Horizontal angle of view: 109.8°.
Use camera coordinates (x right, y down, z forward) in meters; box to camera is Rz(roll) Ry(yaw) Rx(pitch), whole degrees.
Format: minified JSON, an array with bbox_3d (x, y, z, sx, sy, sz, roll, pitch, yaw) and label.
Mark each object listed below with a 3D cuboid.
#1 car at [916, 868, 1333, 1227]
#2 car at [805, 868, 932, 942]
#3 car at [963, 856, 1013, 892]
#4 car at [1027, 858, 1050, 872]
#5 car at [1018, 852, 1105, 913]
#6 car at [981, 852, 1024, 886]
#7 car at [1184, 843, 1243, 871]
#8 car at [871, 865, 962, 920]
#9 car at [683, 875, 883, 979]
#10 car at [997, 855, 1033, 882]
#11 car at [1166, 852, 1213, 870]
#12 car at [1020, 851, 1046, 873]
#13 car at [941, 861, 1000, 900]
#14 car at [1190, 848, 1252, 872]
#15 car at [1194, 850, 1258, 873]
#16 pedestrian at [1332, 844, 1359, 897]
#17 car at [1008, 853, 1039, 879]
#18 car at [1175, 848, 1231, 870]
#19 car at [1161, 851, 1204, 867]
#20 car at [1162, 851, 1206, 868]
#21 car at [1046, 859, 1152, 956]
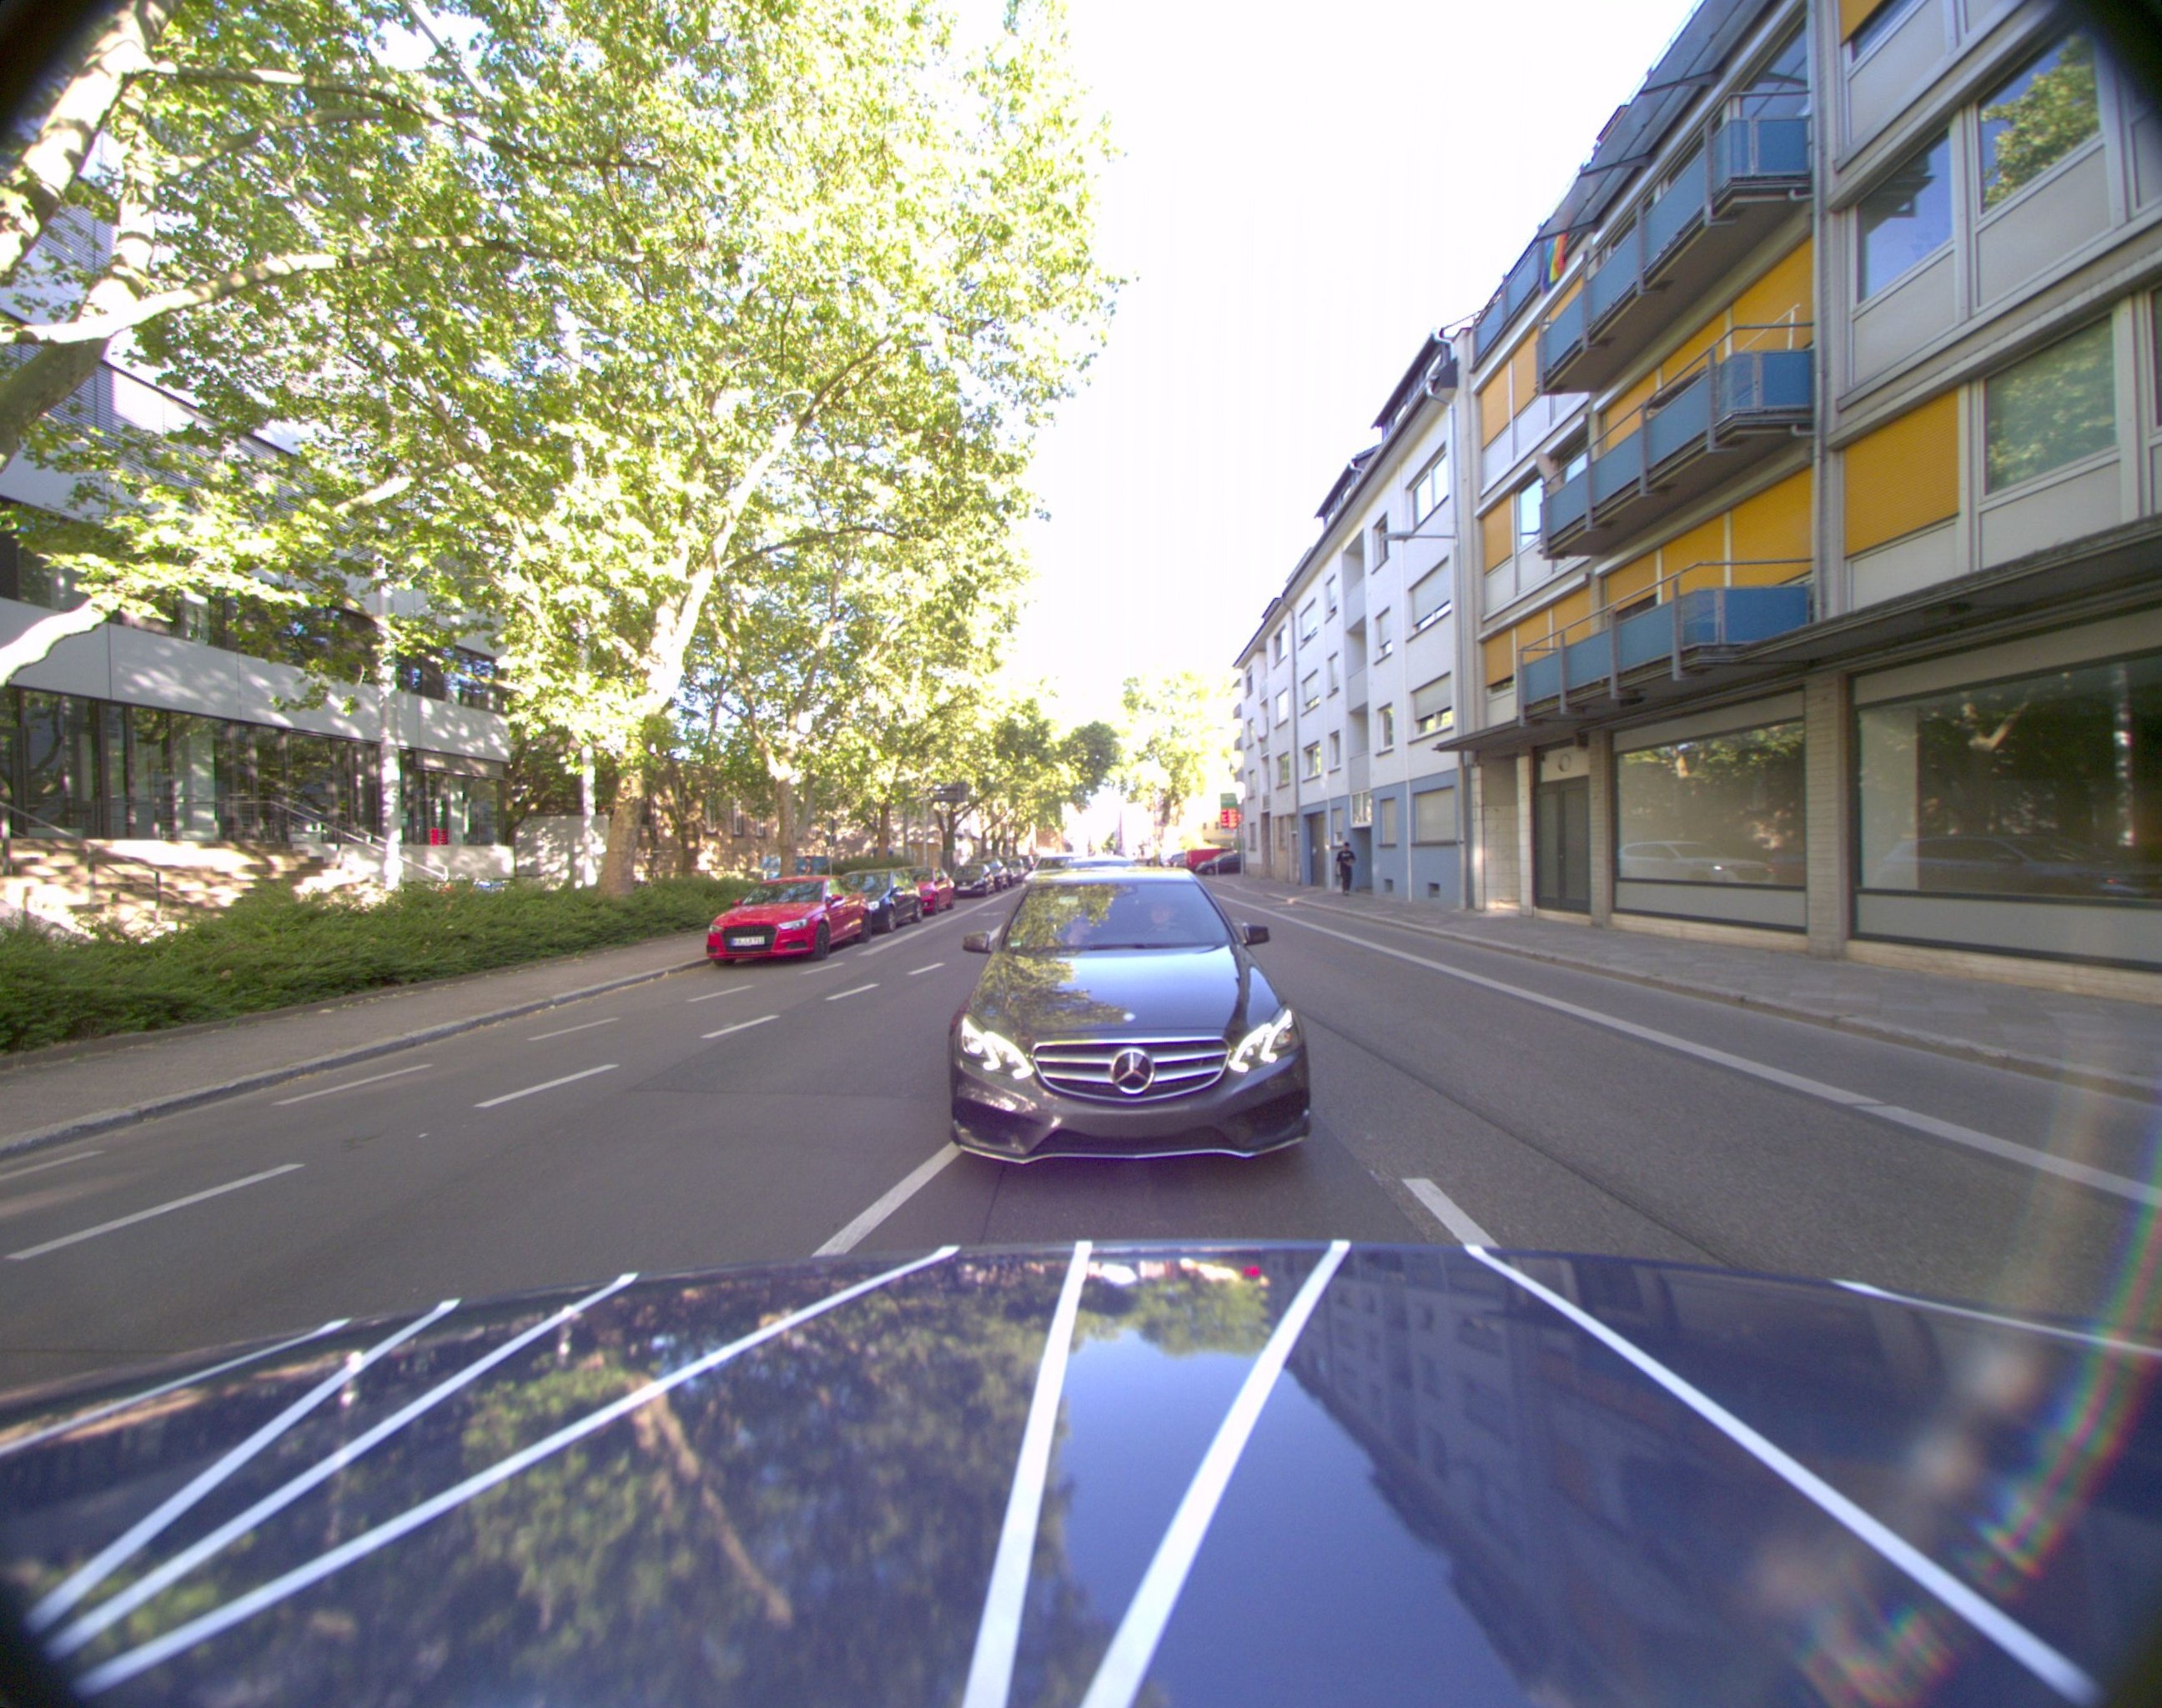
[{"bbox_3d":[0.225,0.918,5.582,1.849,1.490,4.302,-1,0,1],"label":"car"},{"bbox_3d":[-5.039,1.150,18.642,1.835,1.438,4.168,-2,0,1],"label":"car"},{"bbox_3d":[-4.594,0.964,38.086,1.835,1.596,4.161,-2,0,1],"label":"car"},{"bbox_3d":[-3.985,1.025,71.799,1.835,1.220,4.259,-2,0,1],"label":"car"},{"bbox_3d":[-0.472,0.802,23.832,1.907,1.678,4.815,-2,0,8],"label":"car"},{"bbox_3d":[-4.507,0.821,44.126,1.835,1.787,4.463,-2,0,1],"label":"car"},{"bbox_3d":[10.420,0.223,60.140,4.255,1.907,1.818,-4,0,0],"label":"car"},{"bbox_3d":[-5.040,1.134,23.851,1.835,1.459,4.168,-2,0,1],"label":"car"},{"bbox_3d":[-5.129,1.178,13.781,1.835,1.396,4.247,-2,0,1],"label":"car"},{"bbox_3d":[-4.334,0.946,50.619,1.835,1.604,4.259,-2,0,1],"label":"car"},{"bbox_3d":[10.438,0.674,73.202,4.255,1.461,1.653,-4,0,1],"label":"car"},{"bbox_3d":[-4.141,0.680,66.358,1.835,1.839,4.259,-2,0,1],"label":"car"},{"bbox_3d":[-4.743,1.103,33.188,1.835,1.459,4.168,-2,0,1],"label":"car"},{"bbox_3d":[10.488,0.455,57.060,4.255,1.461,1.653,-4,0,1],"label":"car"},{"bbox_3d":[10.404,0.519,54.758,4.255,1.392,1.653,-4,0,1],"label":"car"},{"bbox_3d":[8.565,0.516,24.651,0.612,1.685,0.655,-2,1,1],"label":"pedestrian"},{"bbox_3d":[-4.175,0.811,55.650,1.835,1.750,4.259,-2,0,1],"label":"car"},{"bbox_3d":[10.056,0.408,62.722,4.255,1.461,1.653,-4,0,1],"label":"car"},{"bbox_3d":[10.780,0.514,80.625,4.255,1.461,1.653,-4,0,1],"label":"car"},{"bbox_3d":[10.609,0.541,78.661,4.255,1.461,1.653,-4,0,1],"label":"car"},{"bbox_3d":[0.339,0.904,14.592,1.726,1.530,4.000,-1,0,1],"label":"car"}]
